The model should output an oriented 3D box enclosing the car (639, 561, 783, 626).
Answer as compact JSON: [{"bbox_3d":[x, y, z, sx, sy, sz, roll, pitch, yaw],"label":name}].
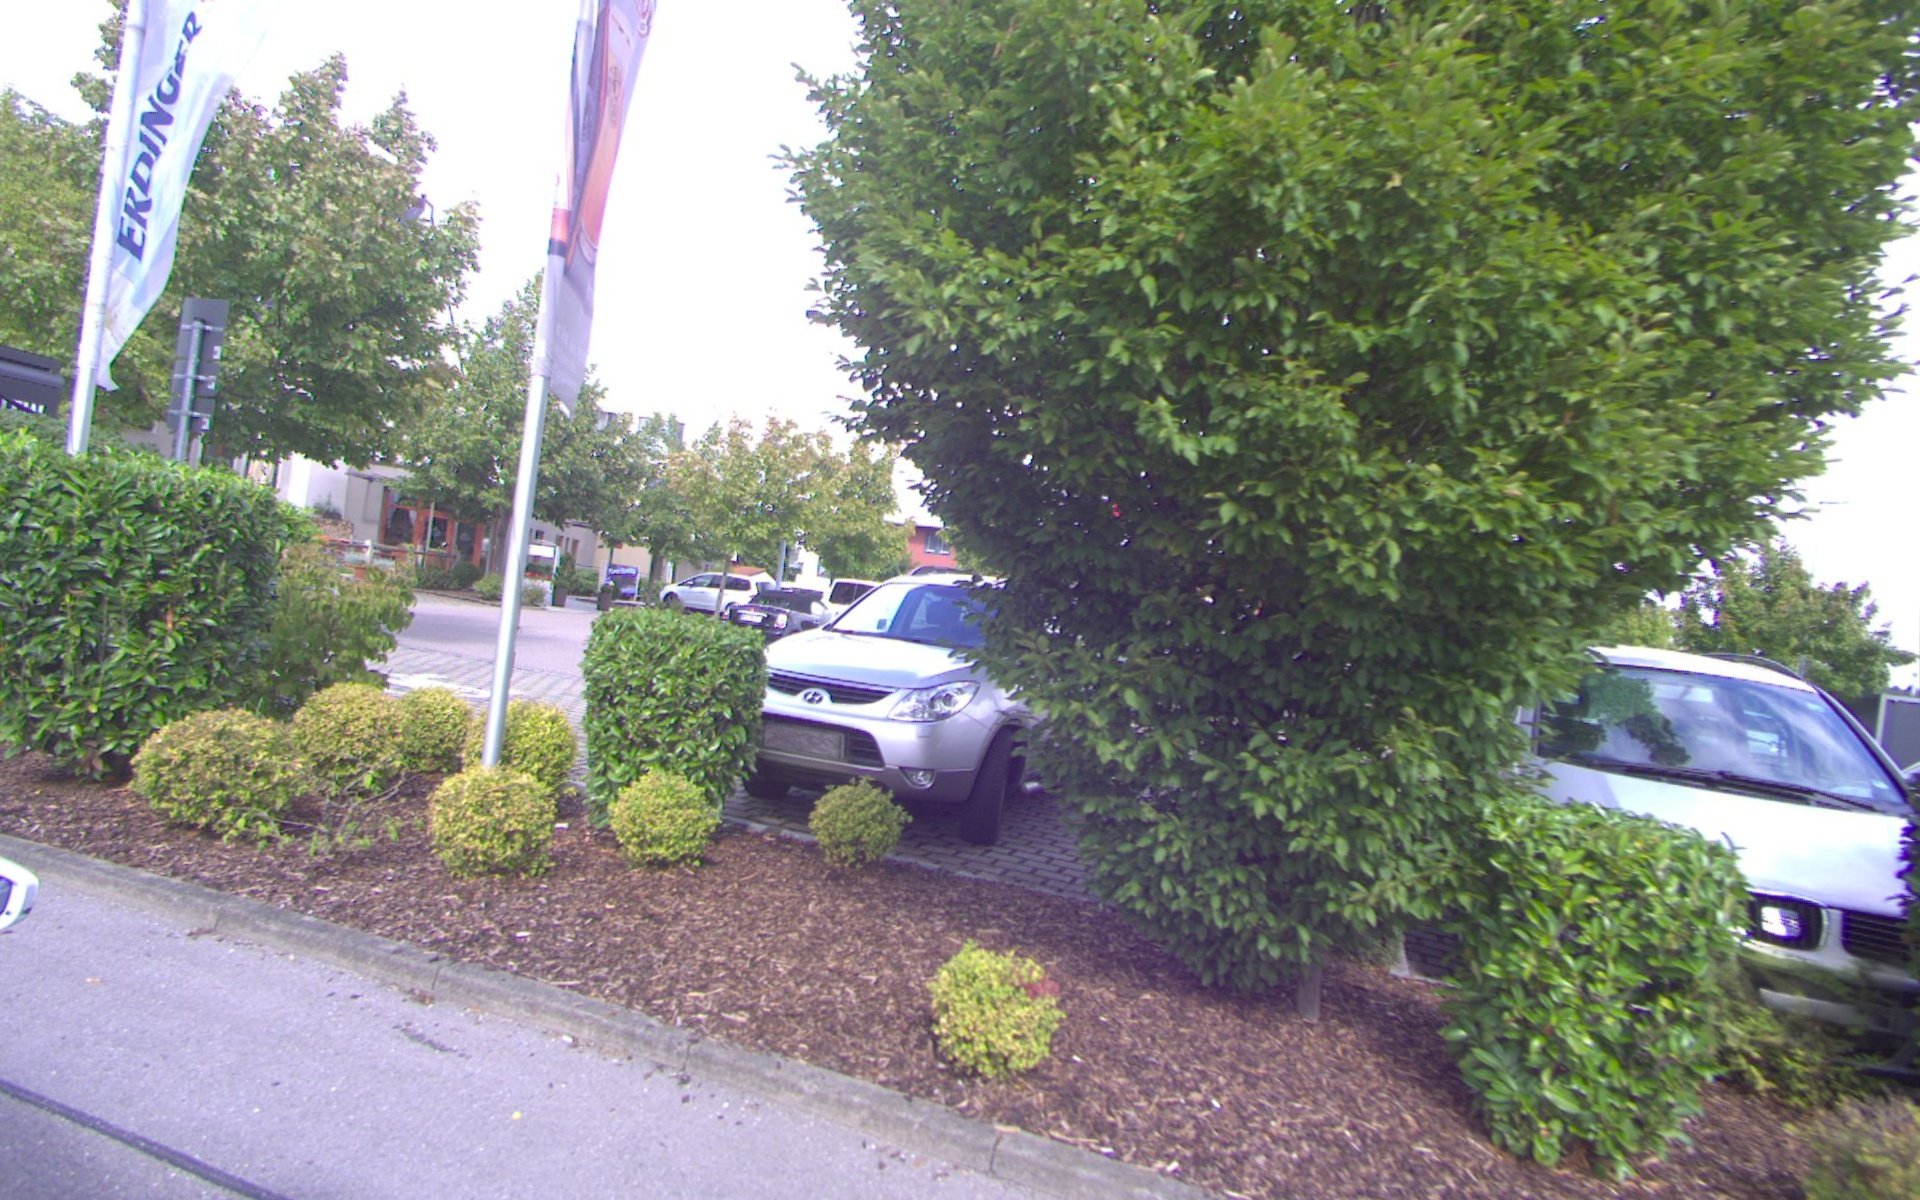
[{"bbox_3d":[-9.419,-0.258,38.056,4.984,1.731,1.751,8,-1,20],"label":"car"}]

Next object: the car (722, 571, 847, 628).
[{"bbox_3d":[-7.541,-0.008,43.193,4.984,1.732,1.598,8,-1,20],"label":"car"}]

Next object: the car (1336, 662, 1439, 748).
[{"bbox_3d":[9.120,2.202,21.742,1.689,1.444,4.278,8,-1,21],"label":"car"}]

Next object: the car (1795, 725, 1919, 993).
[{"bbox_3d":[5.799,1.477,4.530,1.693,1.365,4.002,8,-1,19],"label":"car"}]

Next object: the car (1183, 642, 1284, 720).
[{"bbox_3d":[6.306,1.824,22.874,1.689,1.361,4.278,8,-1,21],"label":"car"}]

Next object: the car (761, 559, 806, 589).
[{"bbox_3d":[-14.017,-2.017,79.966,1.683,1.850,3.613,8,-1,21],"label":"car"}]

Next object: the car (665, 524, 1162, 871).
[{"bbox_3d":[0.070,0.620,7.875,1.884,1.717,4.677,7,0,23],"label":"car"}]

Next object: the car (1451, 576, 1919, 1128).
[{"bbox_3d":[3.850,1.036,5.515,1.627,1.736,4.364,7,-1,23],"label":"car"}]

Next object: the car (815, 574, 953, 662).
[{"bbox_3d":[-1.879,0.548,26.364,1.735,1.843,4.368,8,-1,21],"label":"car"}]

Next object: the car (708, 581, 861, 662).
[{"bbox_3d":[-3.658,0.510,21.553,1.599,1.367,3.374,8,-1,21],"label":"car"}]
